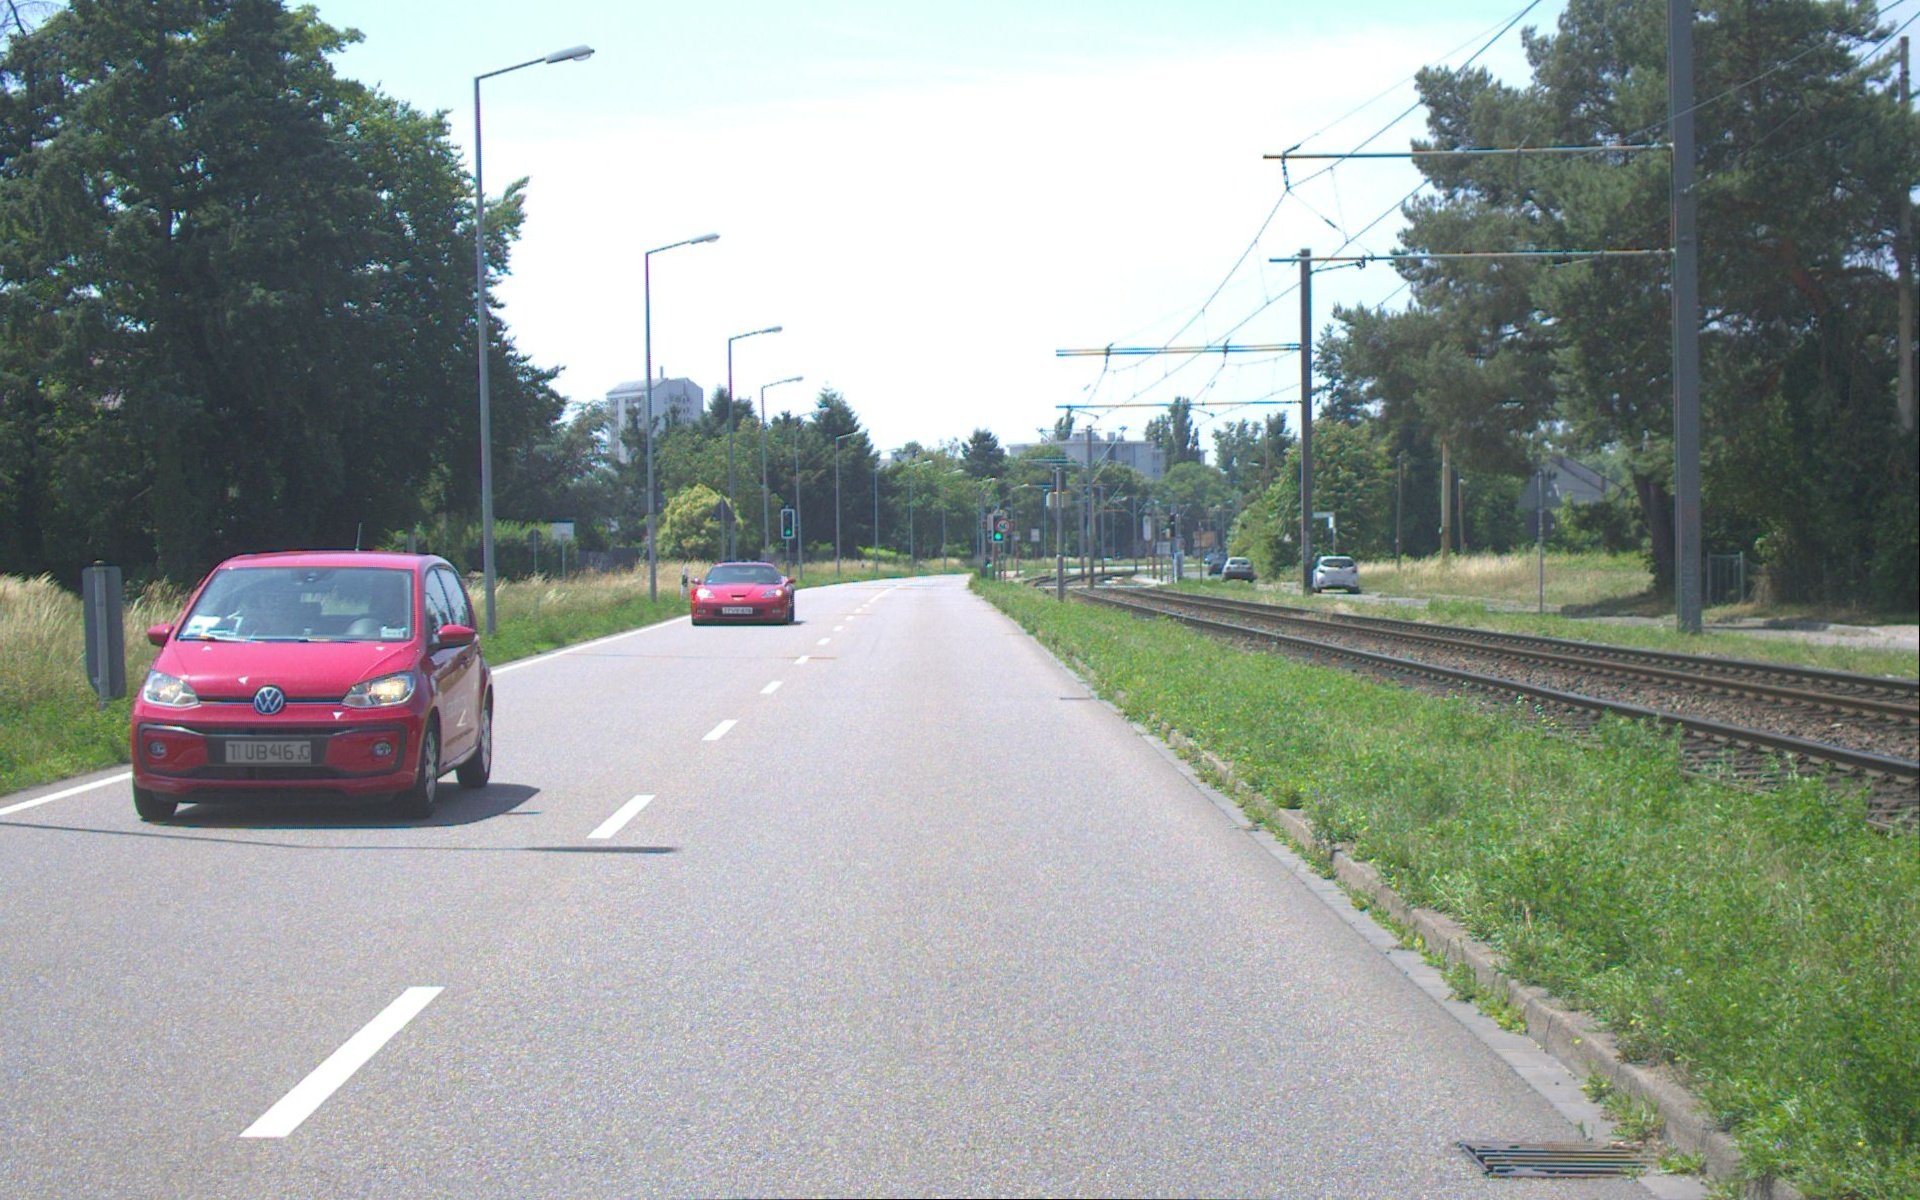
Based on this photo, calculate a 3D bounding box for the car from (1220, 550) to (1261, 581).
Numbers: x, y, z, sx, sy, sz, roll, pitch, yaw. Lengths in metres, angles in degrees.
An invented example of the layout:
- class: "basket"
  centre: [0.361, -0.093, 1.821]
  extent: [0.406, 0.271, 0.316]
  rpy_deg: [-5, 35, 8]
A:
- class: "car"
  centre: [15.823, -1.924, 194.183]
  extent: [1.915, 1.656, 4.000]
  rpy_deg: [-1, 0, 0]

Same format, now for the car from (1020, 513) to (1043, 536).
- class: "car"
  centre: [5.158, -5.475, 248.671]
  extent: [1.551, 1.579, 3.569]
  rpy_deg: [-1, 0, 0]

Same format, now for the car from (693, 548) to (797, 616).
- class: "car"
  centre: [-4.237, -0.343, 68.181]
  extent: [1.807, 1.281, 4.286]
  rpy_deg: [-1, 0, -1]

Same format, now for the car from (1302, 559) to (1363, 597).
- class: "car"
  centre: [15.002, -0.875, 138.590]
  extent: [1.993, 1.503, 4.000]
  rpy_deg: [-1, 0, 0]

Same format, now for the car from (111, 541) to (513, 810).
- class: "car"
  centre: [-3.686, 0.398, 20.145]
  extent: [1.645, 1.395, 3.844]
  rpy_deg: [-1, 0, -1]
